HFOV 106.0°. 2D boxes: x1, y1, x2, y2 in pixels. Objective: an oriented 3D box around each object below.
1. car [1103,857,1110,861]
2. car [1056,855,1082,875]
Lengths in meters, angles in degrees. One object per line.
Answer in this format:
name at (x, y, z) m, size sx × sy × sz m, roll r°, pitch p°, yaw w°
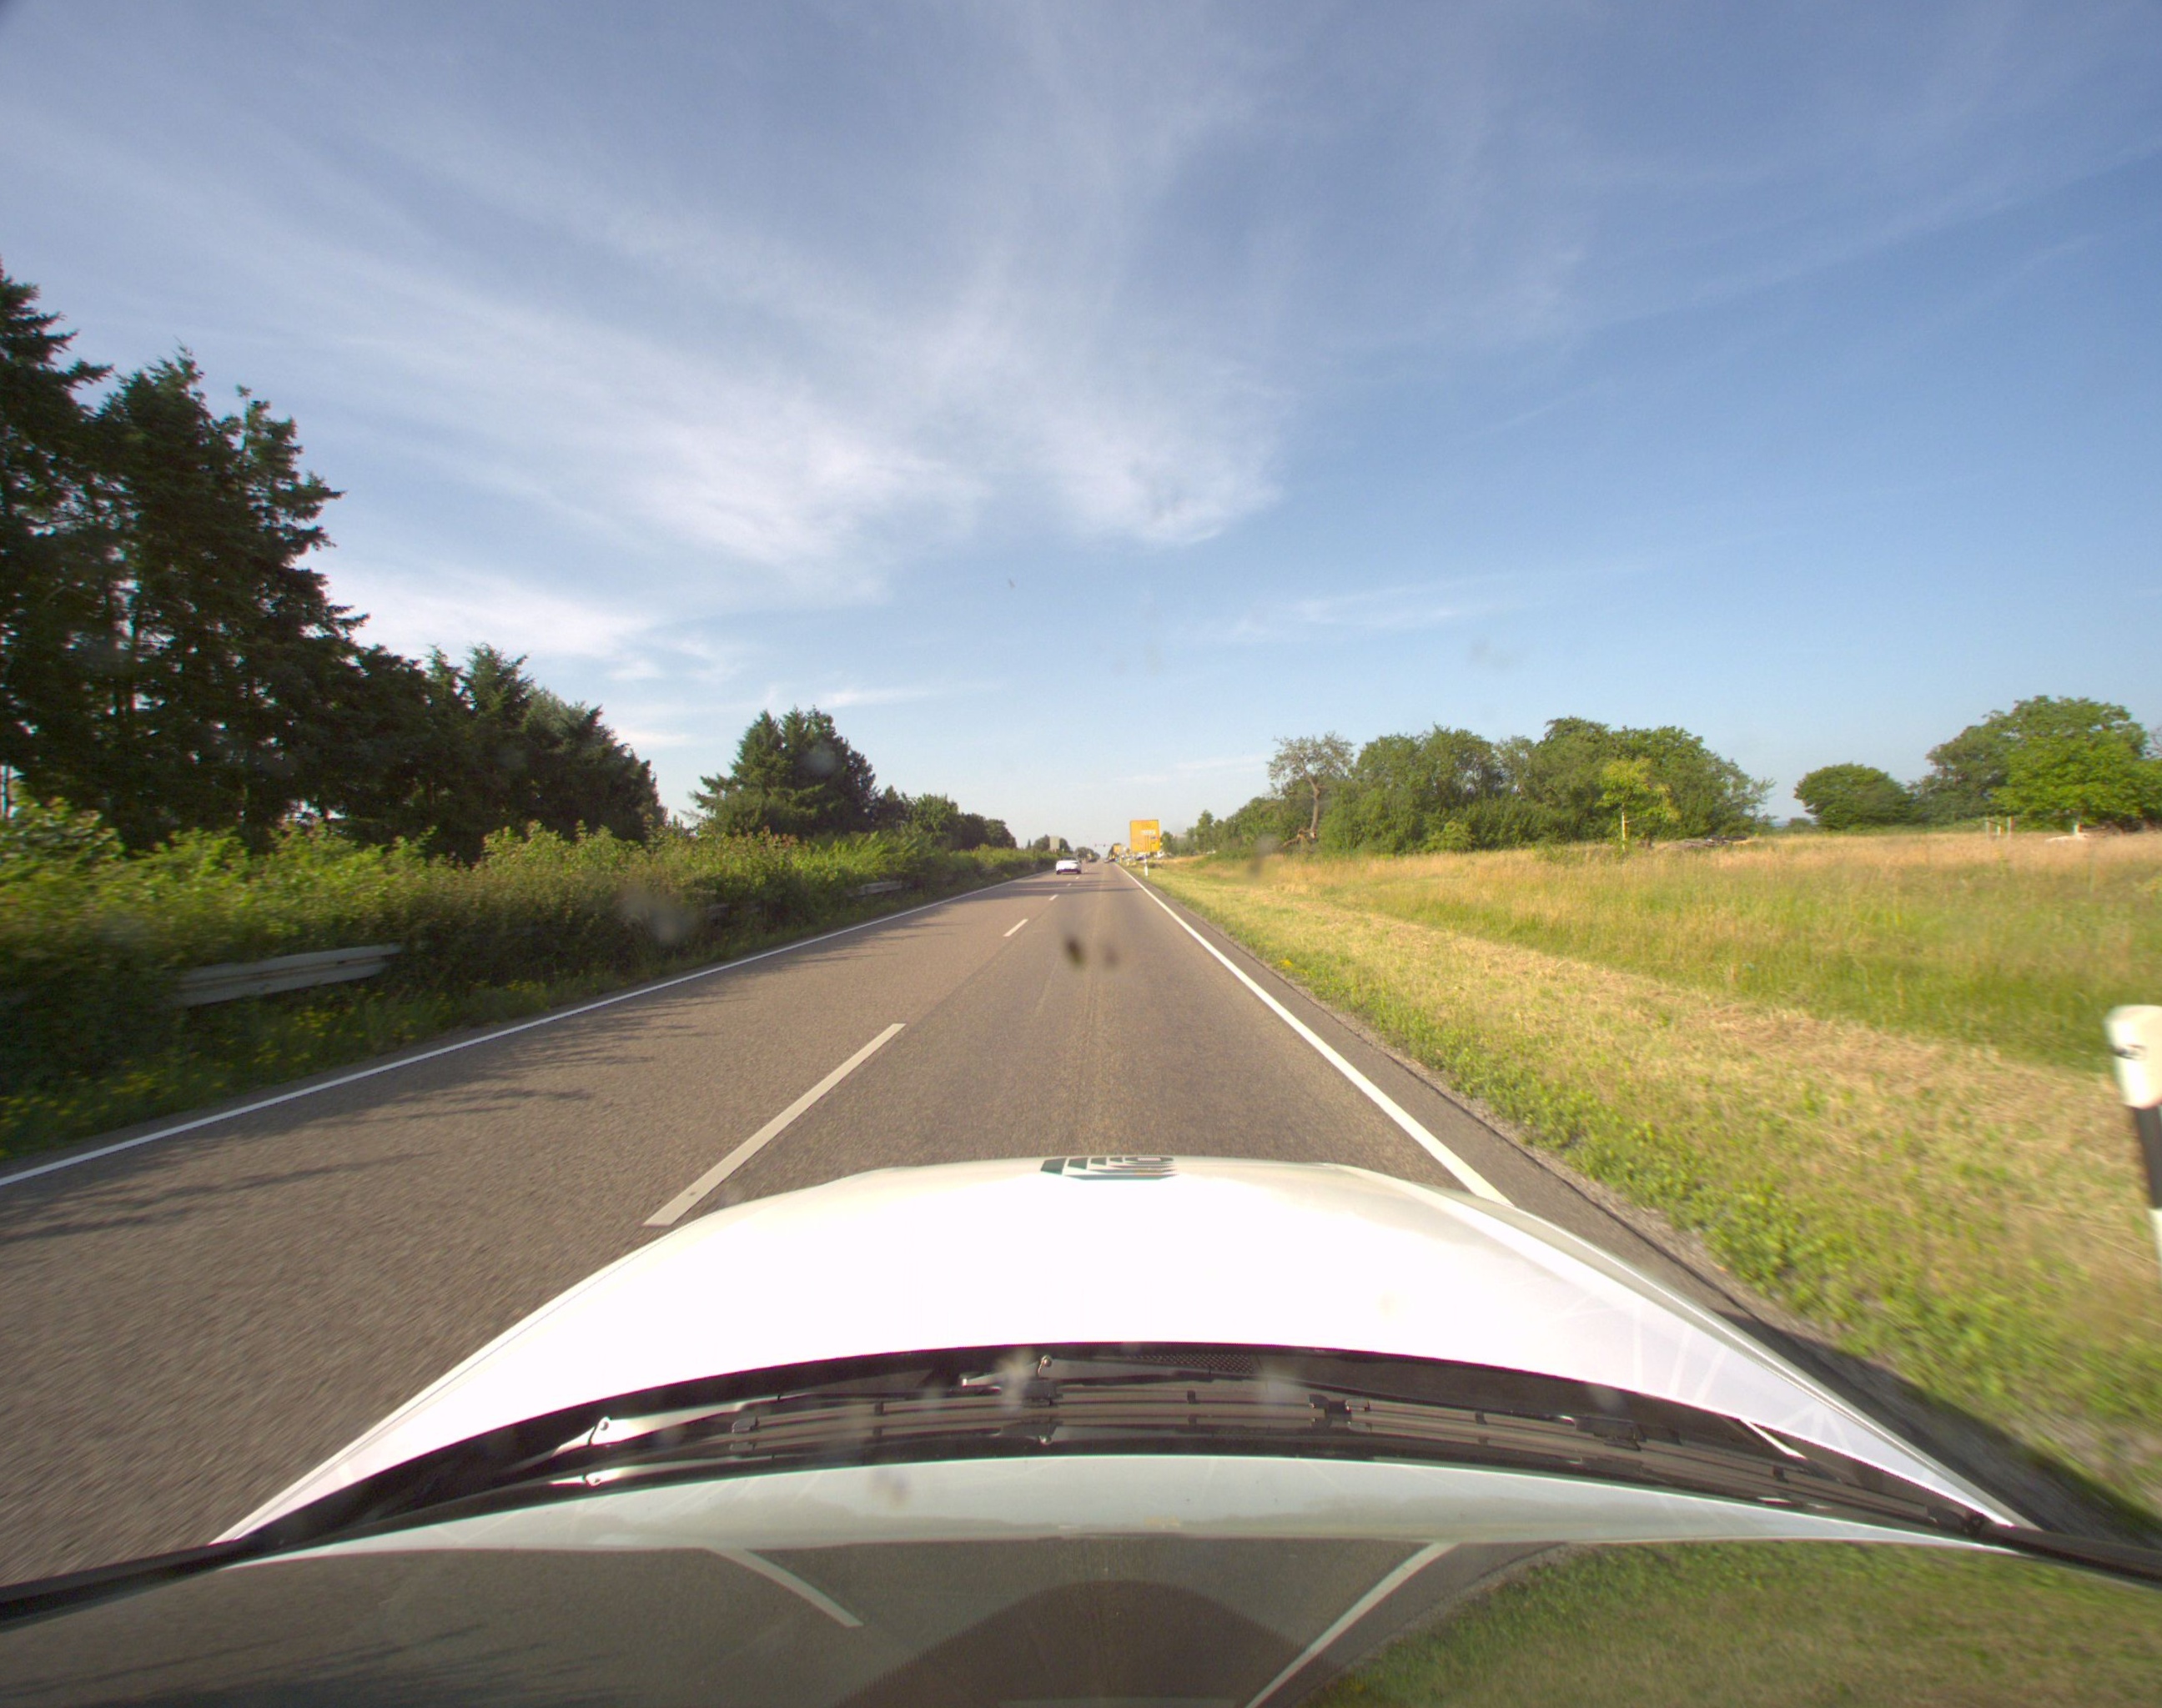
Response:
car at (8.064, 1.588, 259.817) m, size 1.986 × 1.486 × 4.001 m, roll -1°, pitch 0°, yaw 1°
car at (-0.917, 0.846, 63.729) m, size 1.903 × 1.422 × 4.001 m, roll -1°, pitch 0°, yaw 1°
